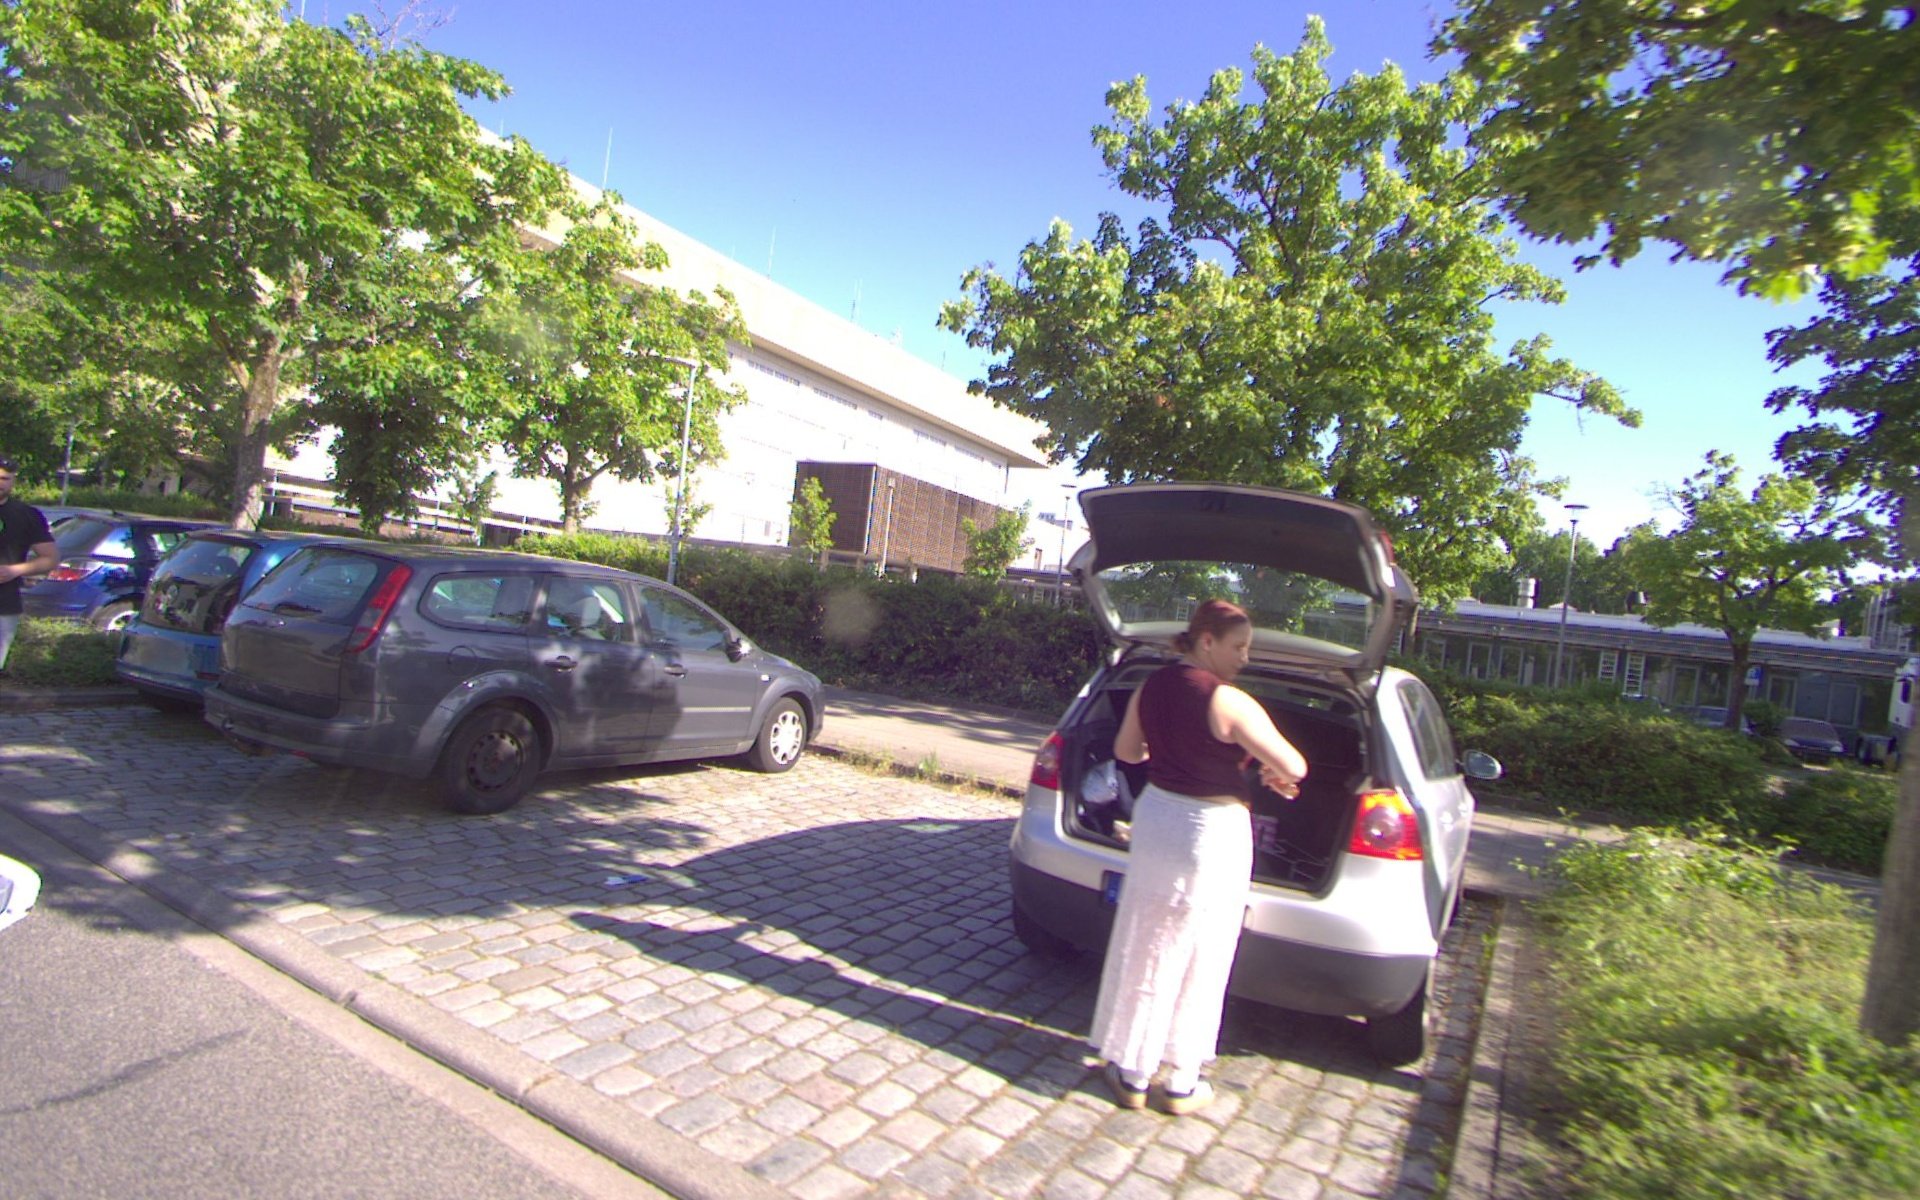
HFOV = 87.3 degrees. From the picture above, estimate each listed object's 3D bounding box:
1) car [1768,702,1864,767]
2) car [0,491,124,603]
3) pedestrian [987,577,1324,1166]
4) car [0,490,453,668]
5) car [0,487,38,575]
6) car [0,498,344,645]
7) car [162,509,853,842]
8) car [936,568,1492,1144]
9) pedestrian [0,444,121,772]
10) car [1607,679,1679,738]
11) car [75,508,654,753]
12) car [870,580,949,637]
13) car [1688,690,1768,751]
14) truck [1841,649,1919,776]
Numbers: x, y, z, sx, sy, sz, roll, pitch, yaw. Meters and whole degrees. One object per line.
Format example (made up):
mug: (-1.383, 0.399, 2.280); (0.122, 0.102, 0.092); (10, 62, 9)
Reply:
car: (28.452, 4.413, 33.548); (1.871, 1.704, 4.214); (8, 0, 35)
car: (-14.497, -0.867, 14.398); (1.717, 1.507, 3.457); (6, 0, 29)
pedestrian: (0.666, 0.789, 3.315); (0.663, 1.598, 0.765); (8, 1, 32)
car: (-8.058, -0.141, 11.136); (1.812, 1.516, 3.898); (7, 0, 33)
car: (-19.773, -1.521, 18.039); (1.879, 1.628, 4.328); (7, 0, 28)
car: (-10.136, -0.328, 12.505); (1.812, 1.433, 3.736); (7, 0, 33)
car: (-2.736, 0.457, 7.145); (1.707, 1.538, 4.192); (7, 0, 29)
car: (1.659, 0.906, 5.173); (1.651, 1.597, 3.906); (8, 0, 29)
pedestrian: (-5.659, 0.008, 5.882); (1.149, 1.794, 0.719); (6, 2, 30)
car: (24.621, 3.875, 36.236); (1.871, 1.704, 3.988); (8, 0, 35)
car: (-4.747, 0.297, 8.642); (1.593, 1.486, 3.906); (8, 0, 29)
car: (-2.588, 0.472, 52.727); (2.196, 2.522, 3.636); (7, 0, 33)
car: (26.592, 4.152, 34.962); (1.871, 1.704, 3.988); (8, 0, 35)
truck: (32.335, 3.877, 33.708); (2.766, 3.853, 6.908); (8, 0, 33)
